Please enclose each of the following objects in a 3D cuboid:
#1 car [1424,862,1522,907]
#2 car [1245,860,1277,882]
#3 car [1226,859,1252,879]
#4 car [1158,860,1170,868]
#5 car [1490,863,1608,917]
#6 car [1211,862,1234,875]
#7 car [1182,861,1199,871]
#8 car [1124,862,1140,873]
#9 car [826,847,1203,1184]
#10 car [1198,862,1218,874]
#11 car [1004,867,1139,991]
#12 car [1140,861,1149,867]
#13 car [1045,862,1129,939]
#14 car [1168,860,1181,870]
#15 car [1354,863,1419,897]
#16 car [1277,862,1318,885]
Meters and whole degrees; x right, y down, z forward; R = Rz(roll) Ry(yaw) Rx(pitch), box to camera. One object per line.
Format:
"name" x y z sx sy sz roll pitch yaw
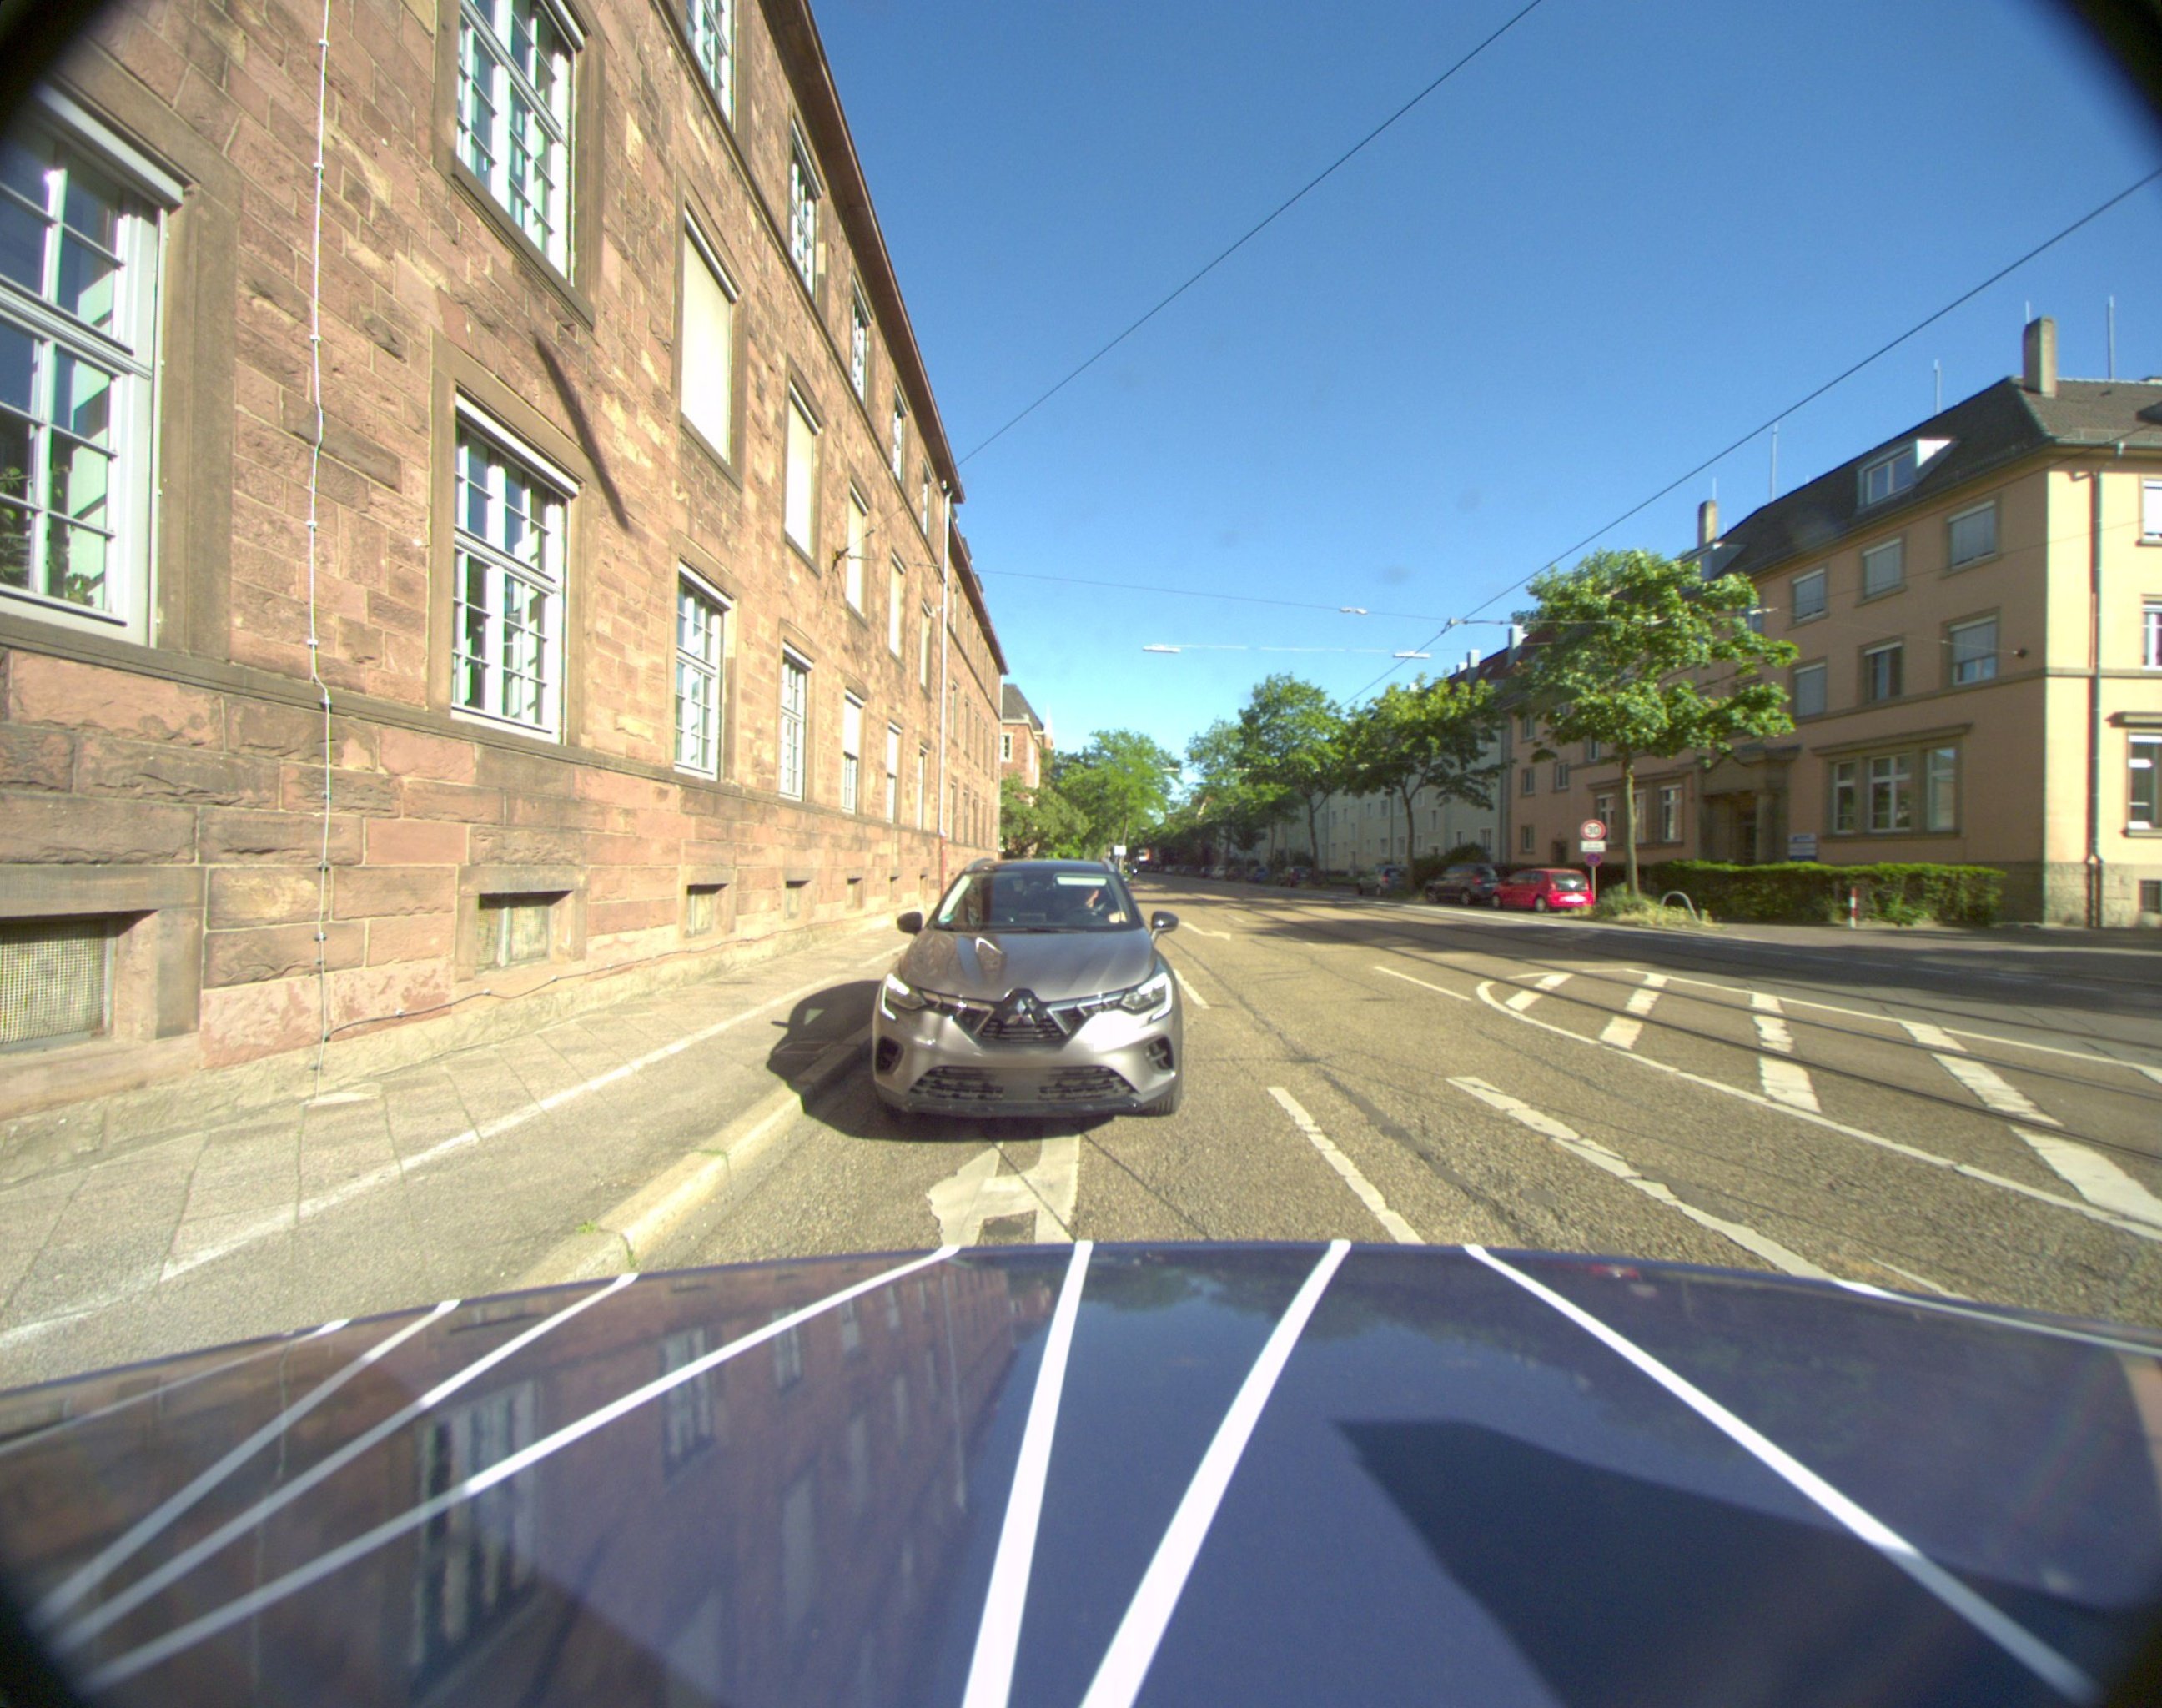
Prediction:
"car" 15.644 1.173 30.559 1.816 1.648 3.819 1 0 -3
"car" 15.970 1.475 67.506 1.816 1.814 3.795 1 0 -2
"car" 15.899 1.532 76.583 1.816 1.929 3.630 1 0 -2
"car" 15.973 1.852 146.887 1.816 1.514 3.630 1 0 -2
"car" 15.855 1.169 25.951 1.816 1.696 3.374 1 0 -3
"car" 16.028 1.670 85.942 1.816 1.411 3.630 1 0 -2
"car" 16.037 1.745 111.706 1.816 1.411 3.630 1 0 -2
"car" 7.224 1.879 107.816 1.912 1.510 4.000 1 0 -1
"car" -0.363 0.784 5.556 1.796 1.595 3.799 0 0 -2
"car" 15.843 1.759 94.869 1.816 1.411 3.630 1 0 -2
"car" -0.179 1.035 12.054 1.796 1.595 3.799 0 0 -2
"car" 16.061 2.484 191.314 1.816 1.411 3.630 1 0 -2
"car" 0.074 1.018 18.502 1.796 1.638 4.083 0 0 -2
"car" 16.583 2.003 135.250 1.816 1.768 3.630 1 0 -2
"car" 15.732 1.304 39.369 1.816 1.648 3.877 1 0 1
"car" 15.790 1.431 55.613 1.816 1.589 3.630 1 0 -2
